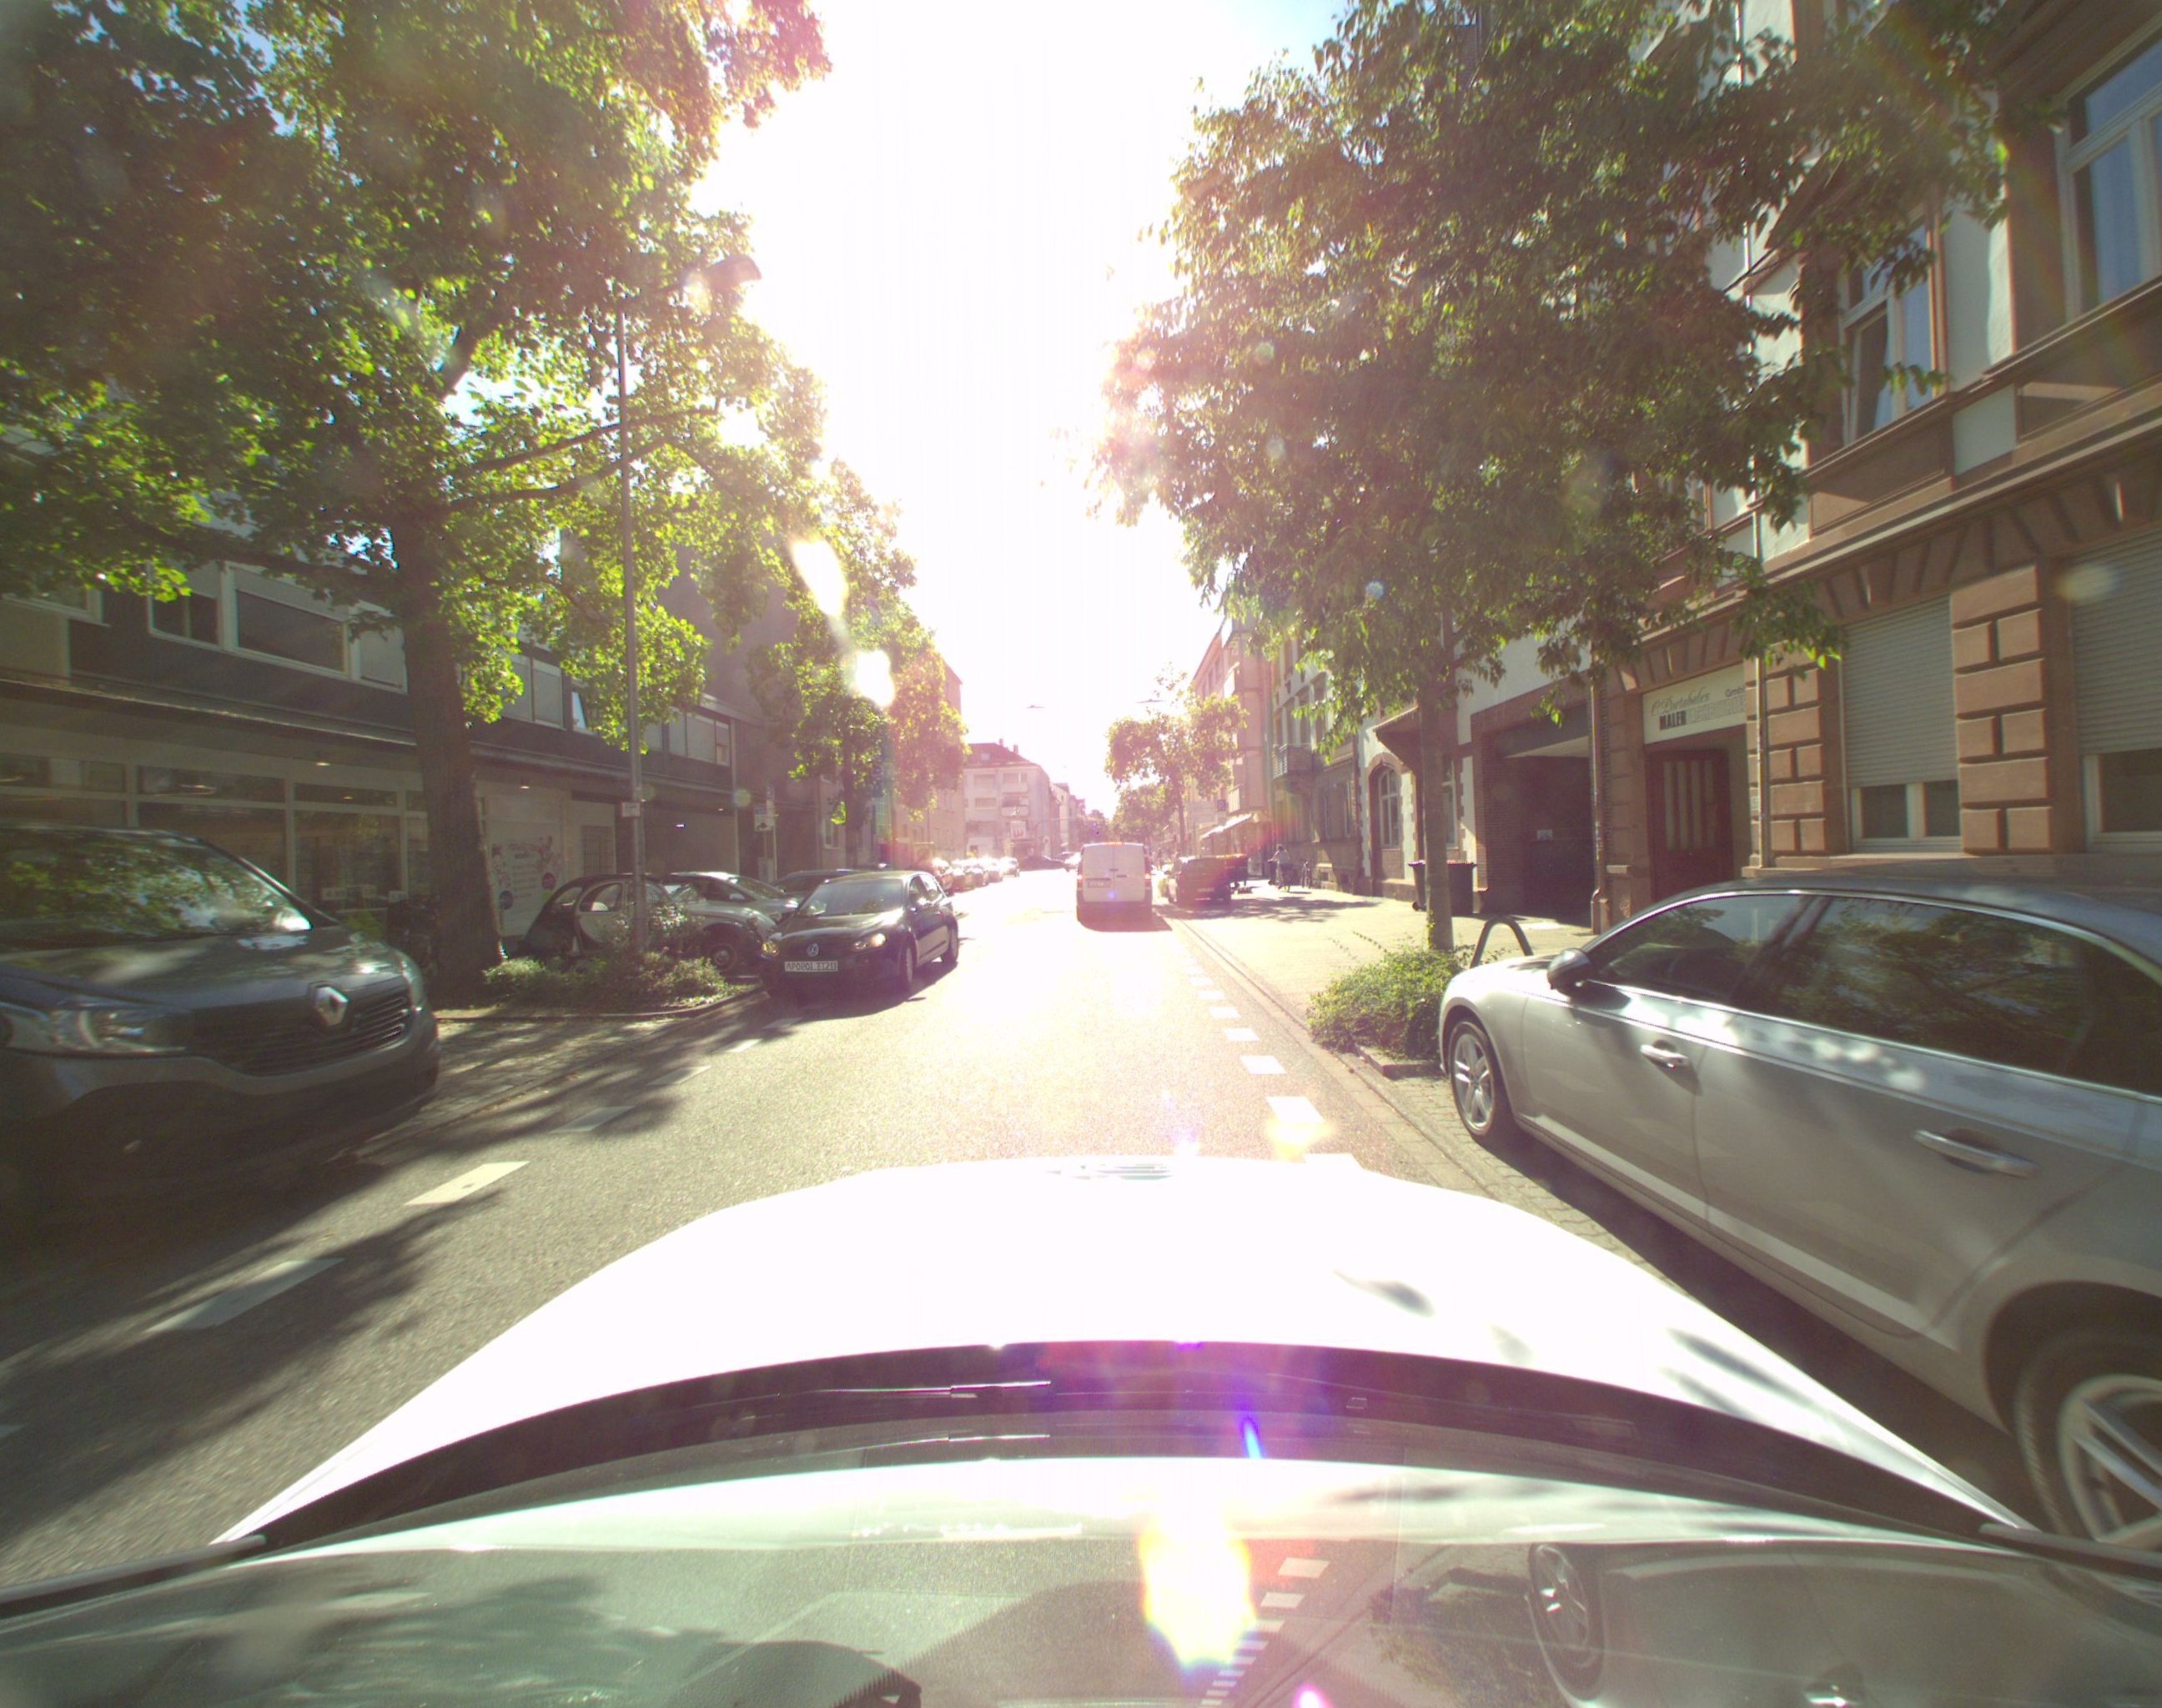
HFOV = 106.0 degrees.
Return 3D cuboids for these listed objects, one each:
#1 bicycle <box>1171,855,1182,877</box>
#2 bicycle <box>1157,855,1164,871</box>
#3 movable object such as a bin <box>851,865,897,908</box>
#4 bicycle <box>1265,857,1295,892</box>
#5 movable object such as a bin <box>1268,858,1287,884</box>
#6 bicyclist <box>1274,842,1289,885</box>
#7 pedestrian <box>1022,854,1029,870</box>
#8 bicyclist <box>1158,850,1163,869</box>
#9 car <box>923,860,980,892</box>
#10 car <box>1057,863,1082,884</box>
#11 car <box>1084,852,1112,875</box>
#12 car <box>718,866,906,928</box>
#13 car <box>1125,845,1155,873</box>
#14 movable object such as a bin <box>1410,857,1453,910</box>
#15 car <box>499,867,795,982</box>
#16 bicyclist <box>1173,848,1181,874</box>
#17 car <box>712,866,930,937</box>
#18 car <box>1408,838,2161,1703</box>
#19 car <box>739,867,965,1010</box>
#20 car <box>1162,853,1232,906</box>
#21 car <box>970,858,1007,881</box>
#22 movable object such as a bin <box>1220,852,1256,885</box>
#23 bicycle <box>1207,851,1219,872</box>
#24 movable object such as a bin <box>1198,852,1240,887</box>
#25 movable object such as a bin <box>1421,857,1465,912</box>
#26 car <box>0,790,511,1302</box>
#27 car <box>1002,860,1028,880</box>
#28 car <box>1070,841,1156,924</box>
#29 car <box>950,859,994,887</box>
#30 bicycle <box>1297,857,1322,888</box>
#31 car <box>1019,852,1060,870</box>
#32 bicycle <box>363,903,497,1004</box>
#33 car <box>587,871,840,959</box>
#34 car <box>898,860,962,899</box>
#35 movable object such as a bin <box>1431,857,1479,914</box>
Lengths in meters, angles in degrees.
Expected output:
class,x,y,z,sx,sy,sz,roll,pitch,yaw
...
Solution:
class,x,y,z,sx,sy,sz,roll,pitch,yaw
bicycle,5.715,0.725,48.850,0.473,1.274,1.218,-2,0,1
bicycle,6.426,0.716,65.639,0.415,1.310,1.334,-2,0,0
movable object such as a bin,-7.404,1.156,29.184,1.223,1.450,1.079,-2,0,9
bicycle,6.911,0.703,28.365,0.534,1.149,2.124,-3,0,1
movable object such as a bin,7.953,0.686,32.960,0.596,1.042,0.546,-2,0,1
bicyclist,6.901,0.320,28.048,0.359,1.477,0.531,-1,0,2
pedestrian,-6.121,0.899,89.636,0.681,1.663,0.601,-2,0,0
bicyclist,6.433,0.442,65.682,0.354,1.575,0.481,-1,-1,-1
car,-6.644,1.090,42.116,1.985,1.497,4.232,1,0,3
car,-0.971,1.682,70.981,1.860,1.614,4.429,-3,0,1
car,1.160,0.663,57.423,1.838,1.507,4.000,-2,0,1
car,-6.893,1.087,21.154,4.289,1.433,1.645,-1,0,1
car,4.268,0.337,59.323,1.809,1.921,4.644,-2,0,1
movable object such as a bin,7.440,0.616,17.304,0.635,1.069,0.632,-2,0,1
car,-6.482,1.019,12.430,3.584,1.552,1.685,-1,0,2
bicyclist,5.739,0.428,48.692,0.438,1.508,0.497,1,-1,1
car,-5.762,1.028,18.329,4.286,1.460,1.764,-1,0,3
car,2.734,0.707,2.544,1.732,1.451,4.308,-2,0,1
car,-2.834,0.978,11.054,1.756,1.438,3.962,-3,0,2
car,3.560,0.739,25.520,1.630,1.476,3.580,-3,0,0
car,-6.041,0.984,53.531,1.770,1.469,4.761,0,0,1
movable object such as a bin,6.606,0.620,34.297,1.028,1.347,1.116,-2,0,40
bicycle,8.272,0.480,50.911,0.473,1.274,1.218,-5,0,1
movable object such as a bin,5.606,0.627,33.092,1.278,1.347,1.095,-2,0,-40
movable object such as a bin,7.417,0.616,16.710,0.635,1.069,0.522,-2,0,1
car,-6.299,0.795,4.198,5.273,1.974,2.016,-1,0,1
car,-5.146,1.251,63.741,1.647,1.479,4.000,0,0,1
car,0.722,0.661,21.624,1.916,1.914,4.884,-1,0,-2
car,-6.253,1.051,47.195,1.714,1.497,4.628,1,0,2
bicycle,8.196,0.662,29.219,0.431,1.030,1.428,-5,0,1
car,-4.174,0.721,81.626,3.976,1.640,1.999,-2,0,-2
bicycle,-8.624,1.270,10.767,1.962,1.184,0.631,-1,-1,27
car,-6.889,1.112,15.607,3.976,1.463,1.812,-1,0,-2
car,-6.699,1.074,36.567,1.869,1.606,4.367,0,0,3
movable object such as a bin,7.408,0.613,16.148,0.635,1.069,0.639,-2,0,1
